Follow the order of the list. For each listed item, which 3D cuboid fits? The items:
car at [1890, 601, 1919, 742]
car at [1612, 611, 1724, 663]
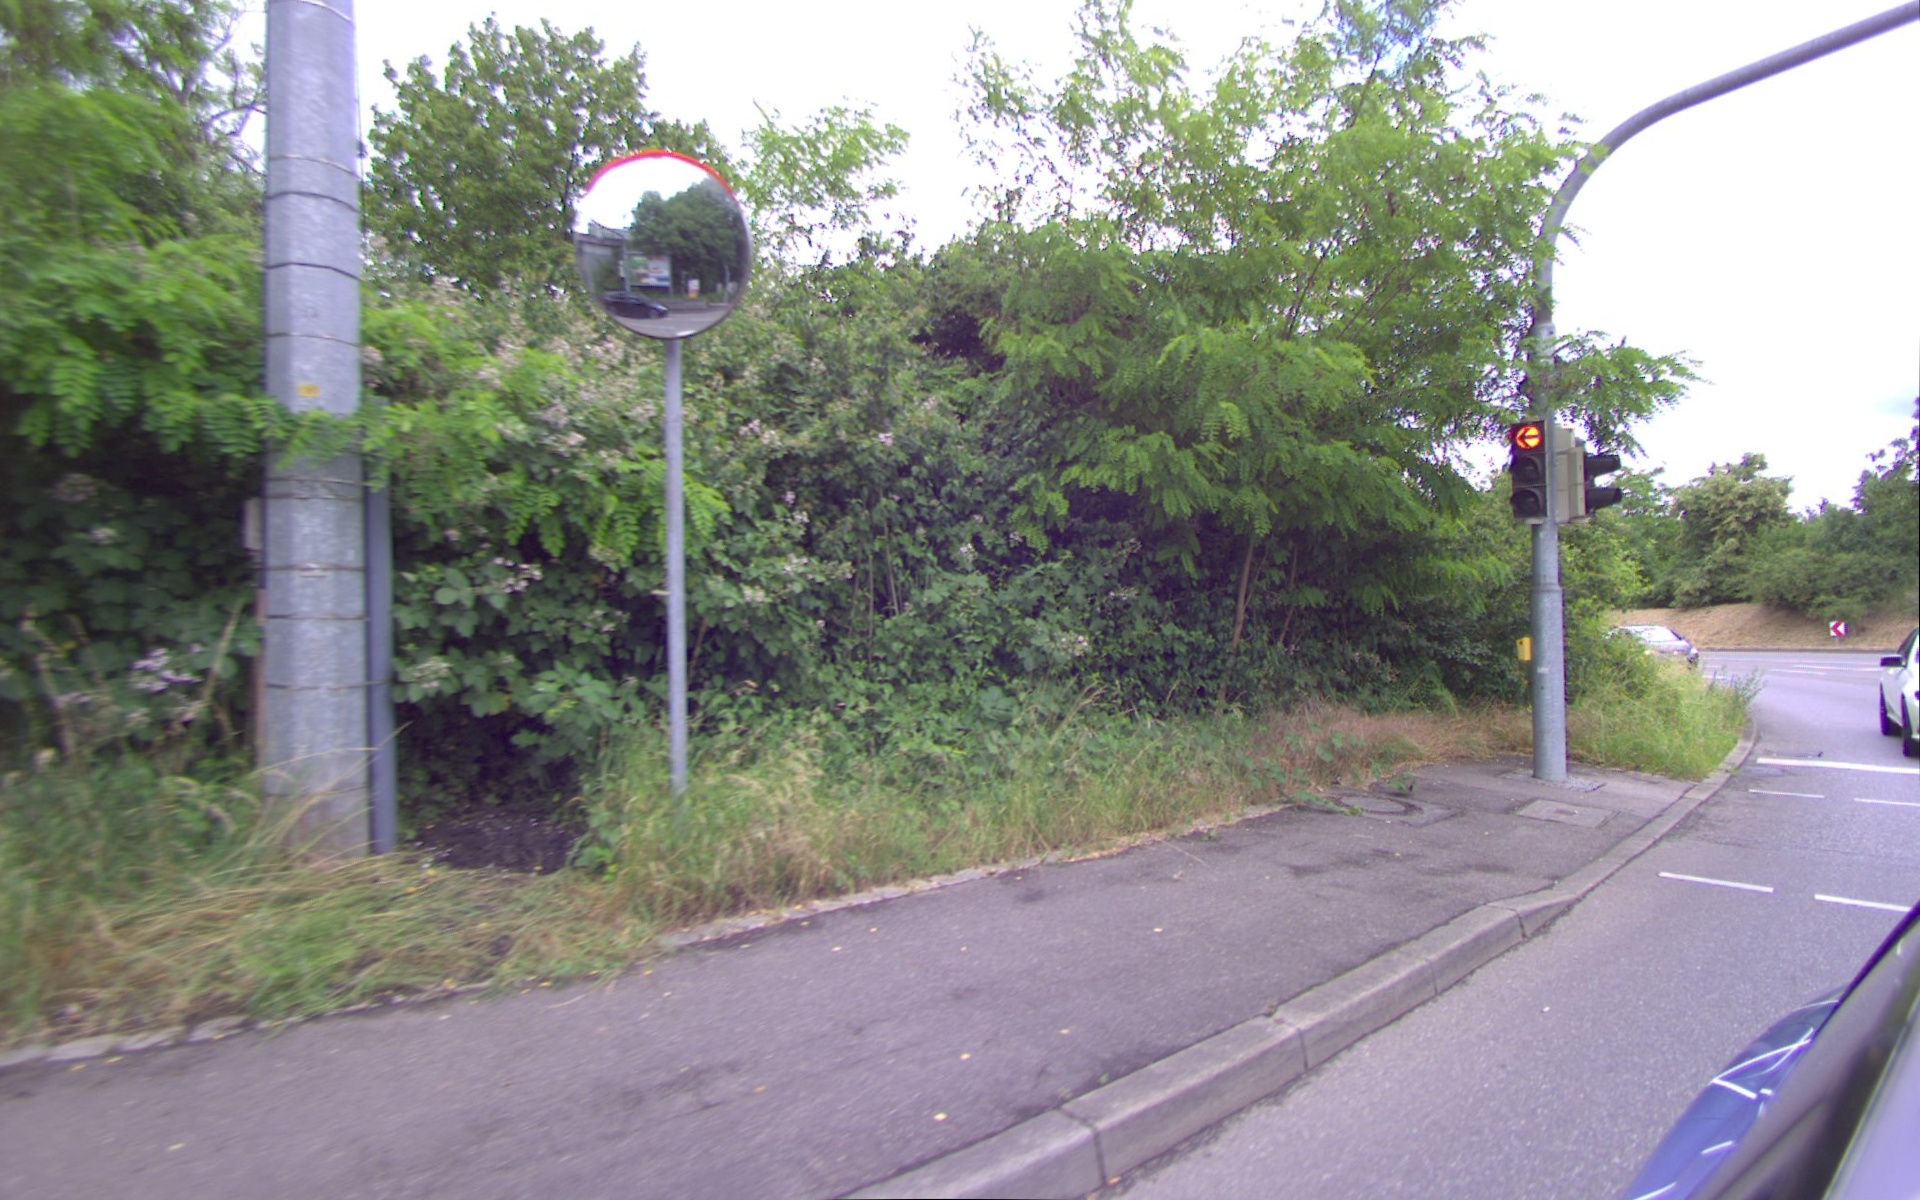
[{"bbox_3d":[11.893,0.735,11.395,1.880,1.440,3.942,0,0,40],"label":"car"},{"bbox_3d":[23.419,1.178,33.640,1.797,1.564,3.710,0,0,14],"label":"car"}]
